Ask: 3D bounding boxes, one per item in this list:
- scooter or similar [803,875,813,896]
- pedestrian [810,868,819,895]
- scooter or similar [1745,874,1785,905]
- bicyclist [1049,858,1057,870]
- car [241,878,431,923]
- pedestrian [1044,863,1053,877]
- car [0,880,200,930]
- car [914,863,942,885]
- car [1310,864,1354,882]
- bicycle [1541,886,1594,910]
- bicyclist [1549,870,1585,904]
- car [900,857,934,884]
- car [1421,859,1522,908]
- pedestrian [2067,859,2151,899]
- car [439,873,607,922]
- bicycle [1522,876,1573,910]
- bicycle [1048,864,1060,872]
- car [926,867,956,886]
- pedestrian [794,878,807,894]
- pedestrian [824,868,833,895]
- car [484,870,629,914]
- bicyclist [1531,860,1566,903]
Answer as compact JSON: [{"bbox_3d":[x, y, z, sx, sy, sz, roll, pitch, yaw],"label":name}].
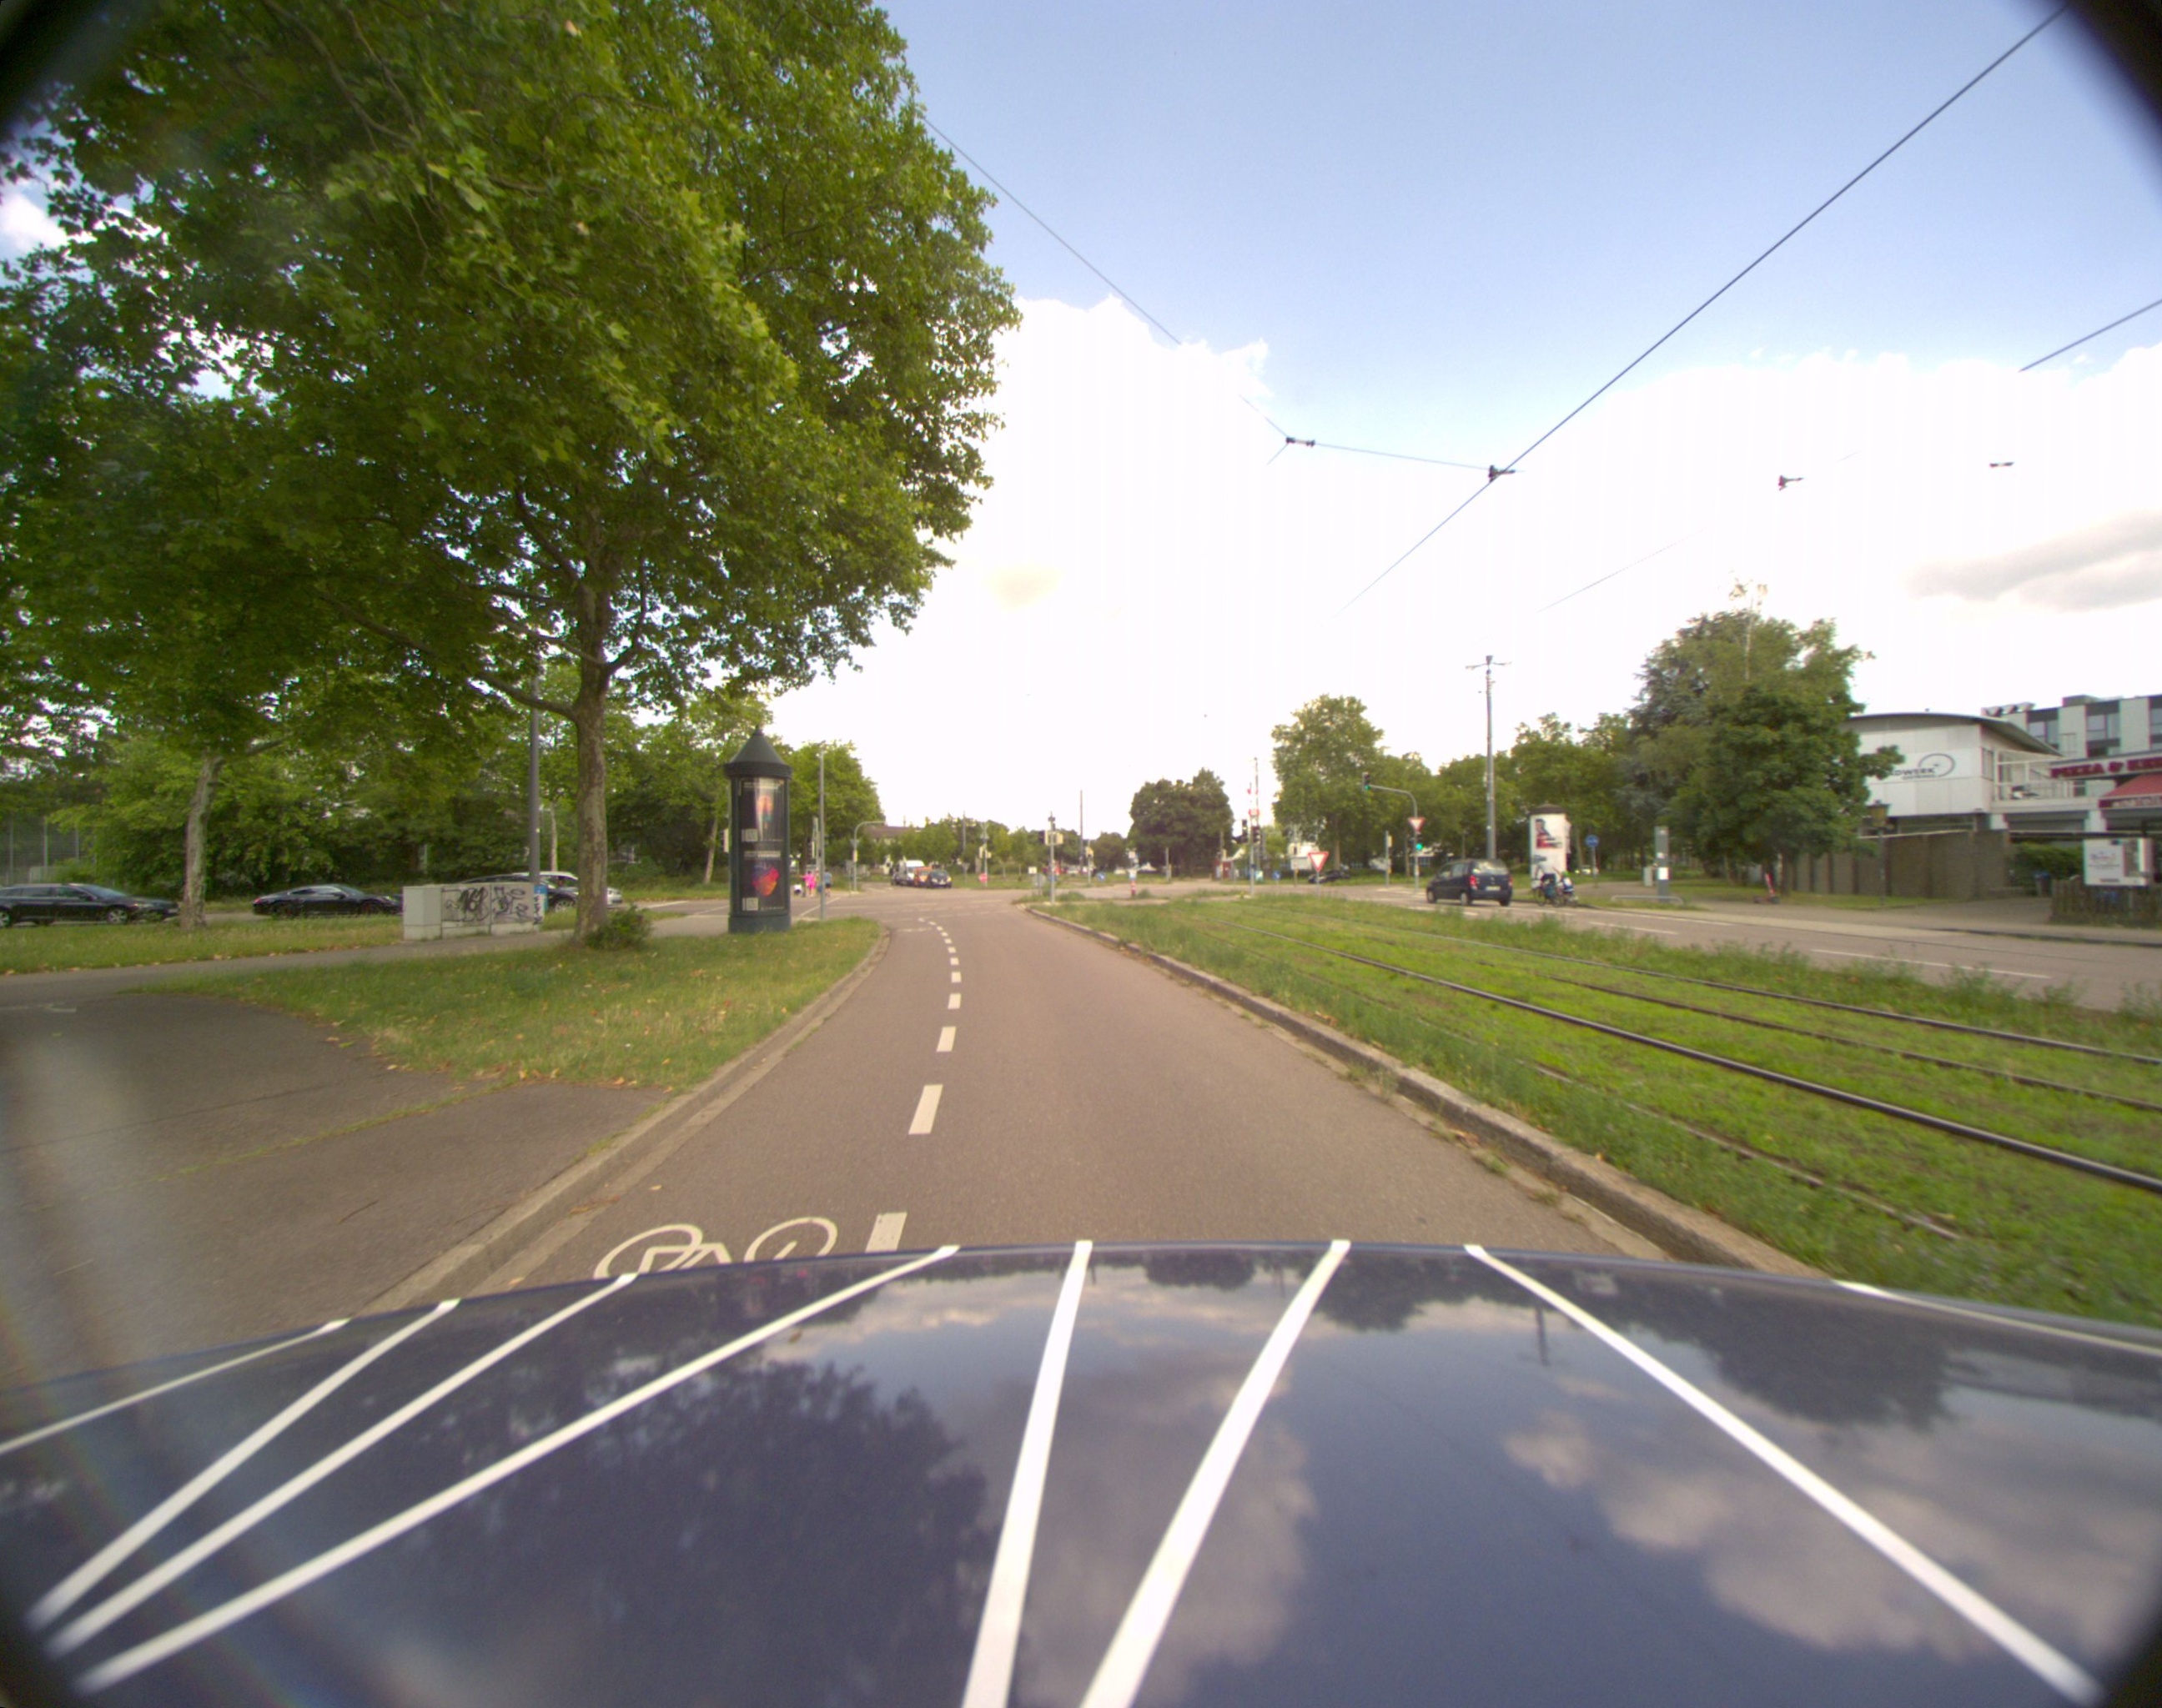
[{"bbox_3d":[-15.365,1.783,42.756,0.396,1.154,1.114,-1,0,-26],"label":"scooter or similar"},{"bbox_3d":[-15.065,1.564,42.994,0.420,1.499,0.392,-1,0,-24],"label":"pedestrian"},{"bbox_3d":[23.739,1.217,26.390,0.427,1.027,1.224,-1,0,8],"label":"scooter or similar"},{"bbox_3d":[-3.730,1.334,101.652,0.806,1.461,0.831,-1,-2,-27],"label":"bicyclist"},{"bbox_3d":[-28.127,1.719,28.921,4.755,1.461,1.996,0,0,-23],"label":"car"},{"bbox_3d":[-4.233,2.055,99.585,0.909,1.856,1.000,-1,0,-25],"label":"pedestrian"},{"bbox_3d":[-34.565,1.740,26.436,4.692,1.504,1.996,0,0,-23],"label":"car"},{"bbox_3d":[-14.260,1.869,70.683,1.798,1.924,4.361,-1,0,-22],"label":"car"},{"bbox_3d":[22.248,1.675,67.354,3.864,1.514,1.695,0,0,-34],"label":"car"},{"bbox_3d":[16.491,1.480,25.814,0.647,0.713,1.805,-1,0,1],"label":"bicycle"},{"bbox_3d":[16.474,1.118,25.787,0.641,1.106,0.929,-1,0,1],"label":"bicyclist"},{"bbox_3d":[-16.609,1.659,76.783,2.243,2.492,5.715,-1,0,-23],"label":"car"},{"bbox_3d":[14.078,1.014,27.599,1.783,1.617,3.495,-1,0,-1],"label":"car"},{"bbox_3d":[29.521,0.709,21.835,1.156,1.139,0.932,-1,0,-1],"label":"pedestrian"},{"bbox_3d":[-20.683,1.563,28.433,4.692,1.601,1.996,0,0,-22],"label":"car"},{"bbox_3d":[15.827,1.292,25.820,0.647,1.073,1.805,-1,0,0],"label":"bicycle"},{"bbox_3d":[-3.612,1.883,101.454,0.806,1.053,2.065,-1,-2,-27],"label":"bicycle"},{"bbox_3d":[-11.982,1.929,65.034,1.798,1.530,3.993,-1,0,-21],"label":"car"},{"bbox_3d":[-18.094,2.062,48.961,0.723,1.028,0.900,-1,0,-22],"label":"pedestrian"},{"bbox_3d":[-14.288,1.534,43.062,0.420,1.499,0.450,-1,0,-24],"label":"pedestrian"},{"bbox_3d":[-21.868,1.542,31.924,4.692,1.601,1.996,0,0,-23],"label":"car"},{"bbox_3d":[15.818,0.922,25.723,0.624,1.449,0.928,-1,0,0],"label":"bicyclist"}]
